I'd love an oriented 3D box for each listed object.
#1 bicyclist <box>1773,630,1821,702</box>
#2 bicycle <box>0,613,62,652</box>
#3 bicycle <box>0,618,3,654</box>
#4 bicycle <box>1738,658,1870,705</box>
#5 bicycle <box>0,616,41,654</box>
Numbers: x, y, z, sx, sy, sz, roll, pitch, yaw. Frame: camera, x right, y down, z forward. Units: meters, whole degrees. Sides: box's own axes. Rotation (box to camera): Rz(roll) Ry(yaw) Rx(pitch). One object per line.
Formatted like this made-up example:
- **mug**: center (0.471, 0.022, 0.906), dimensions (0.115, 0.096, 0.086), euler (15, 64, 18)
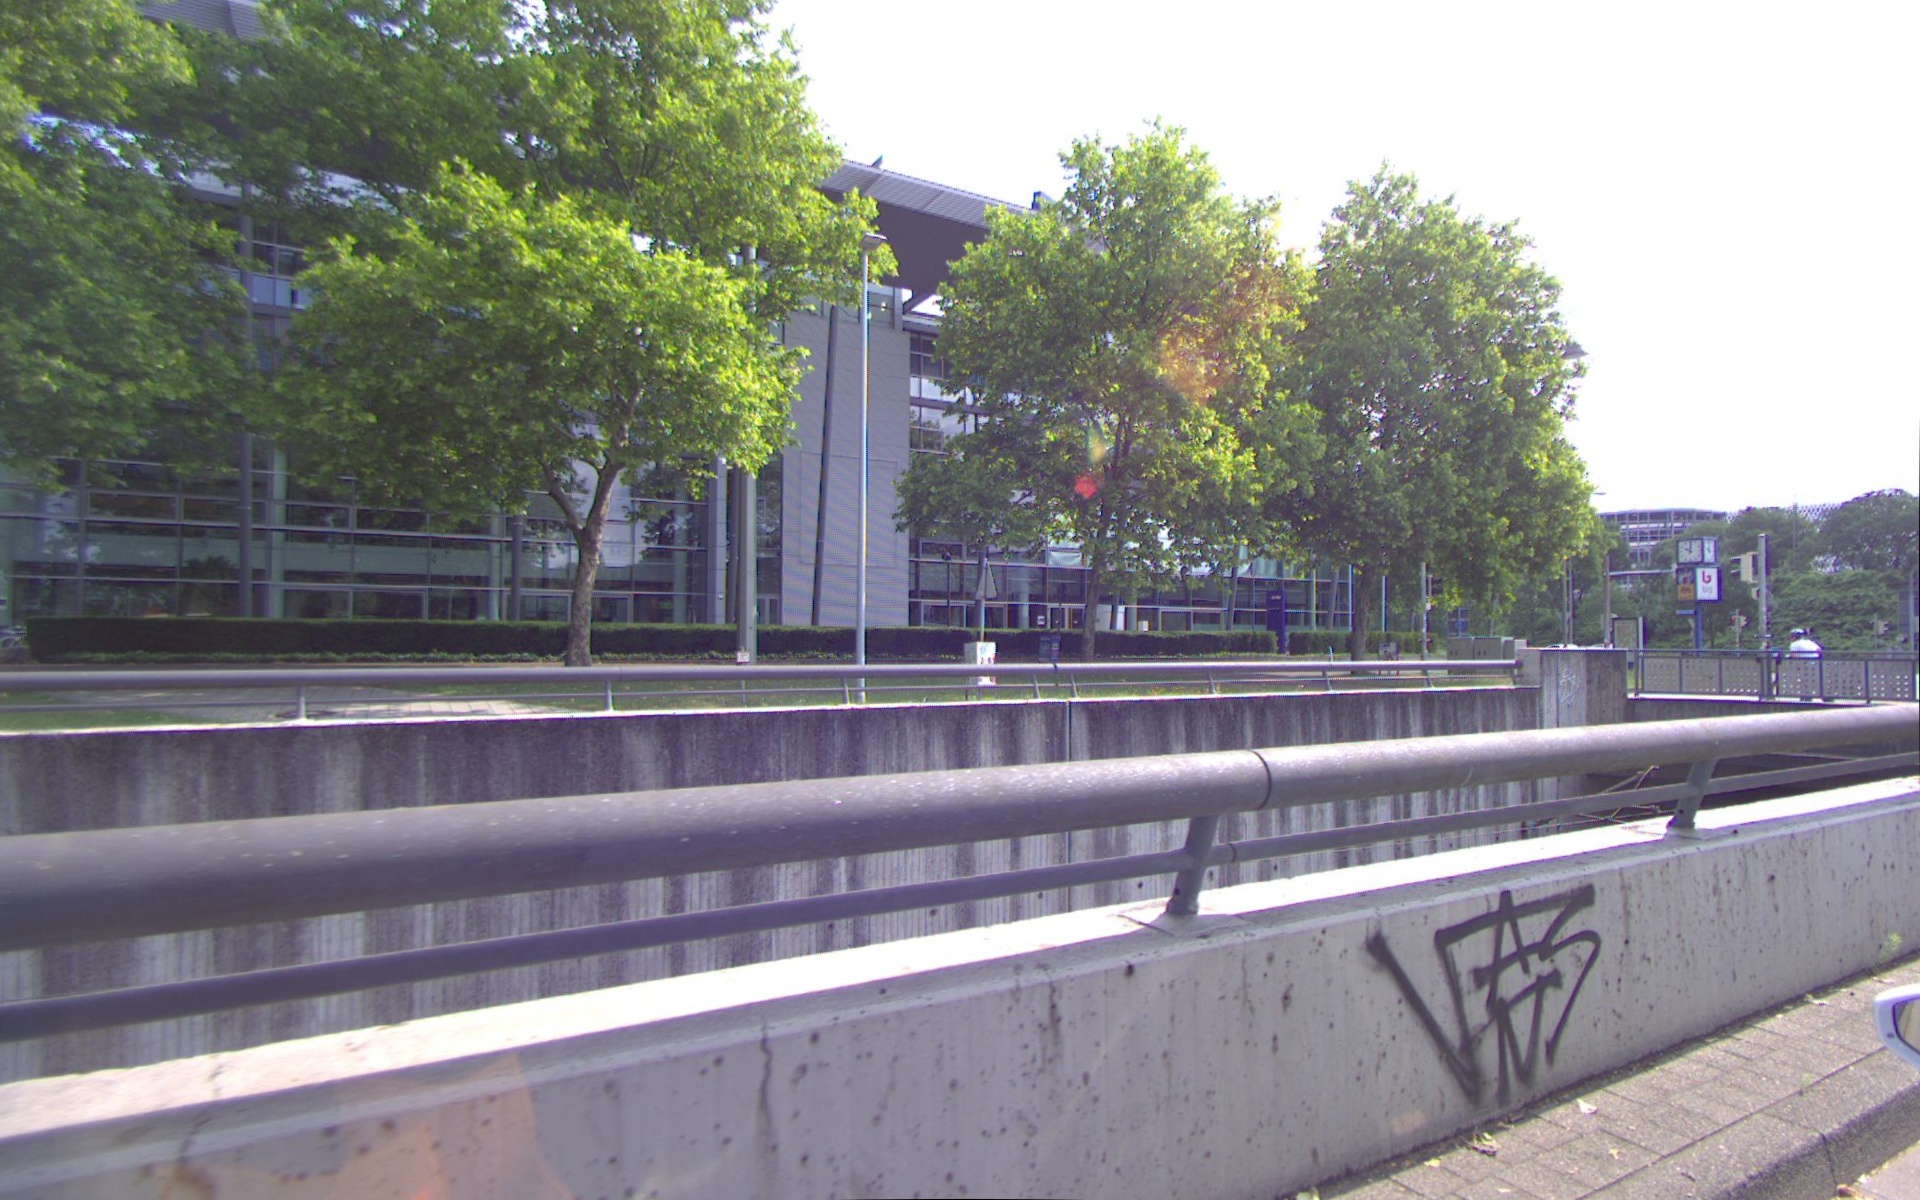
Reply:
- **bicyclist**: center (16.906, 1.327, 20.288), dimensions (0.618, 1.423, 0.508), euler (1, -2, -25)
- **bicycle**: center (-29.402, 1.027, 31.476), dimensions (0.624, 1.165, 2.270), euler (1, -2, -6)
- **bicycle**: center (-31.211, 1.120, 31.385), dimensions (0.624, 1.164, 2.270), euler (-2, -2, -5)
- **bicycle**: center (16.933, 1.622, 20.207), dimensions (0.604, 0.837, 1.966), euler (2, -2, -26)
- **bicycle**: center (-30.087, 1.086, 31.463), dimensions (0.624, 1.165, 2.271), euler (1, -2, -5)
